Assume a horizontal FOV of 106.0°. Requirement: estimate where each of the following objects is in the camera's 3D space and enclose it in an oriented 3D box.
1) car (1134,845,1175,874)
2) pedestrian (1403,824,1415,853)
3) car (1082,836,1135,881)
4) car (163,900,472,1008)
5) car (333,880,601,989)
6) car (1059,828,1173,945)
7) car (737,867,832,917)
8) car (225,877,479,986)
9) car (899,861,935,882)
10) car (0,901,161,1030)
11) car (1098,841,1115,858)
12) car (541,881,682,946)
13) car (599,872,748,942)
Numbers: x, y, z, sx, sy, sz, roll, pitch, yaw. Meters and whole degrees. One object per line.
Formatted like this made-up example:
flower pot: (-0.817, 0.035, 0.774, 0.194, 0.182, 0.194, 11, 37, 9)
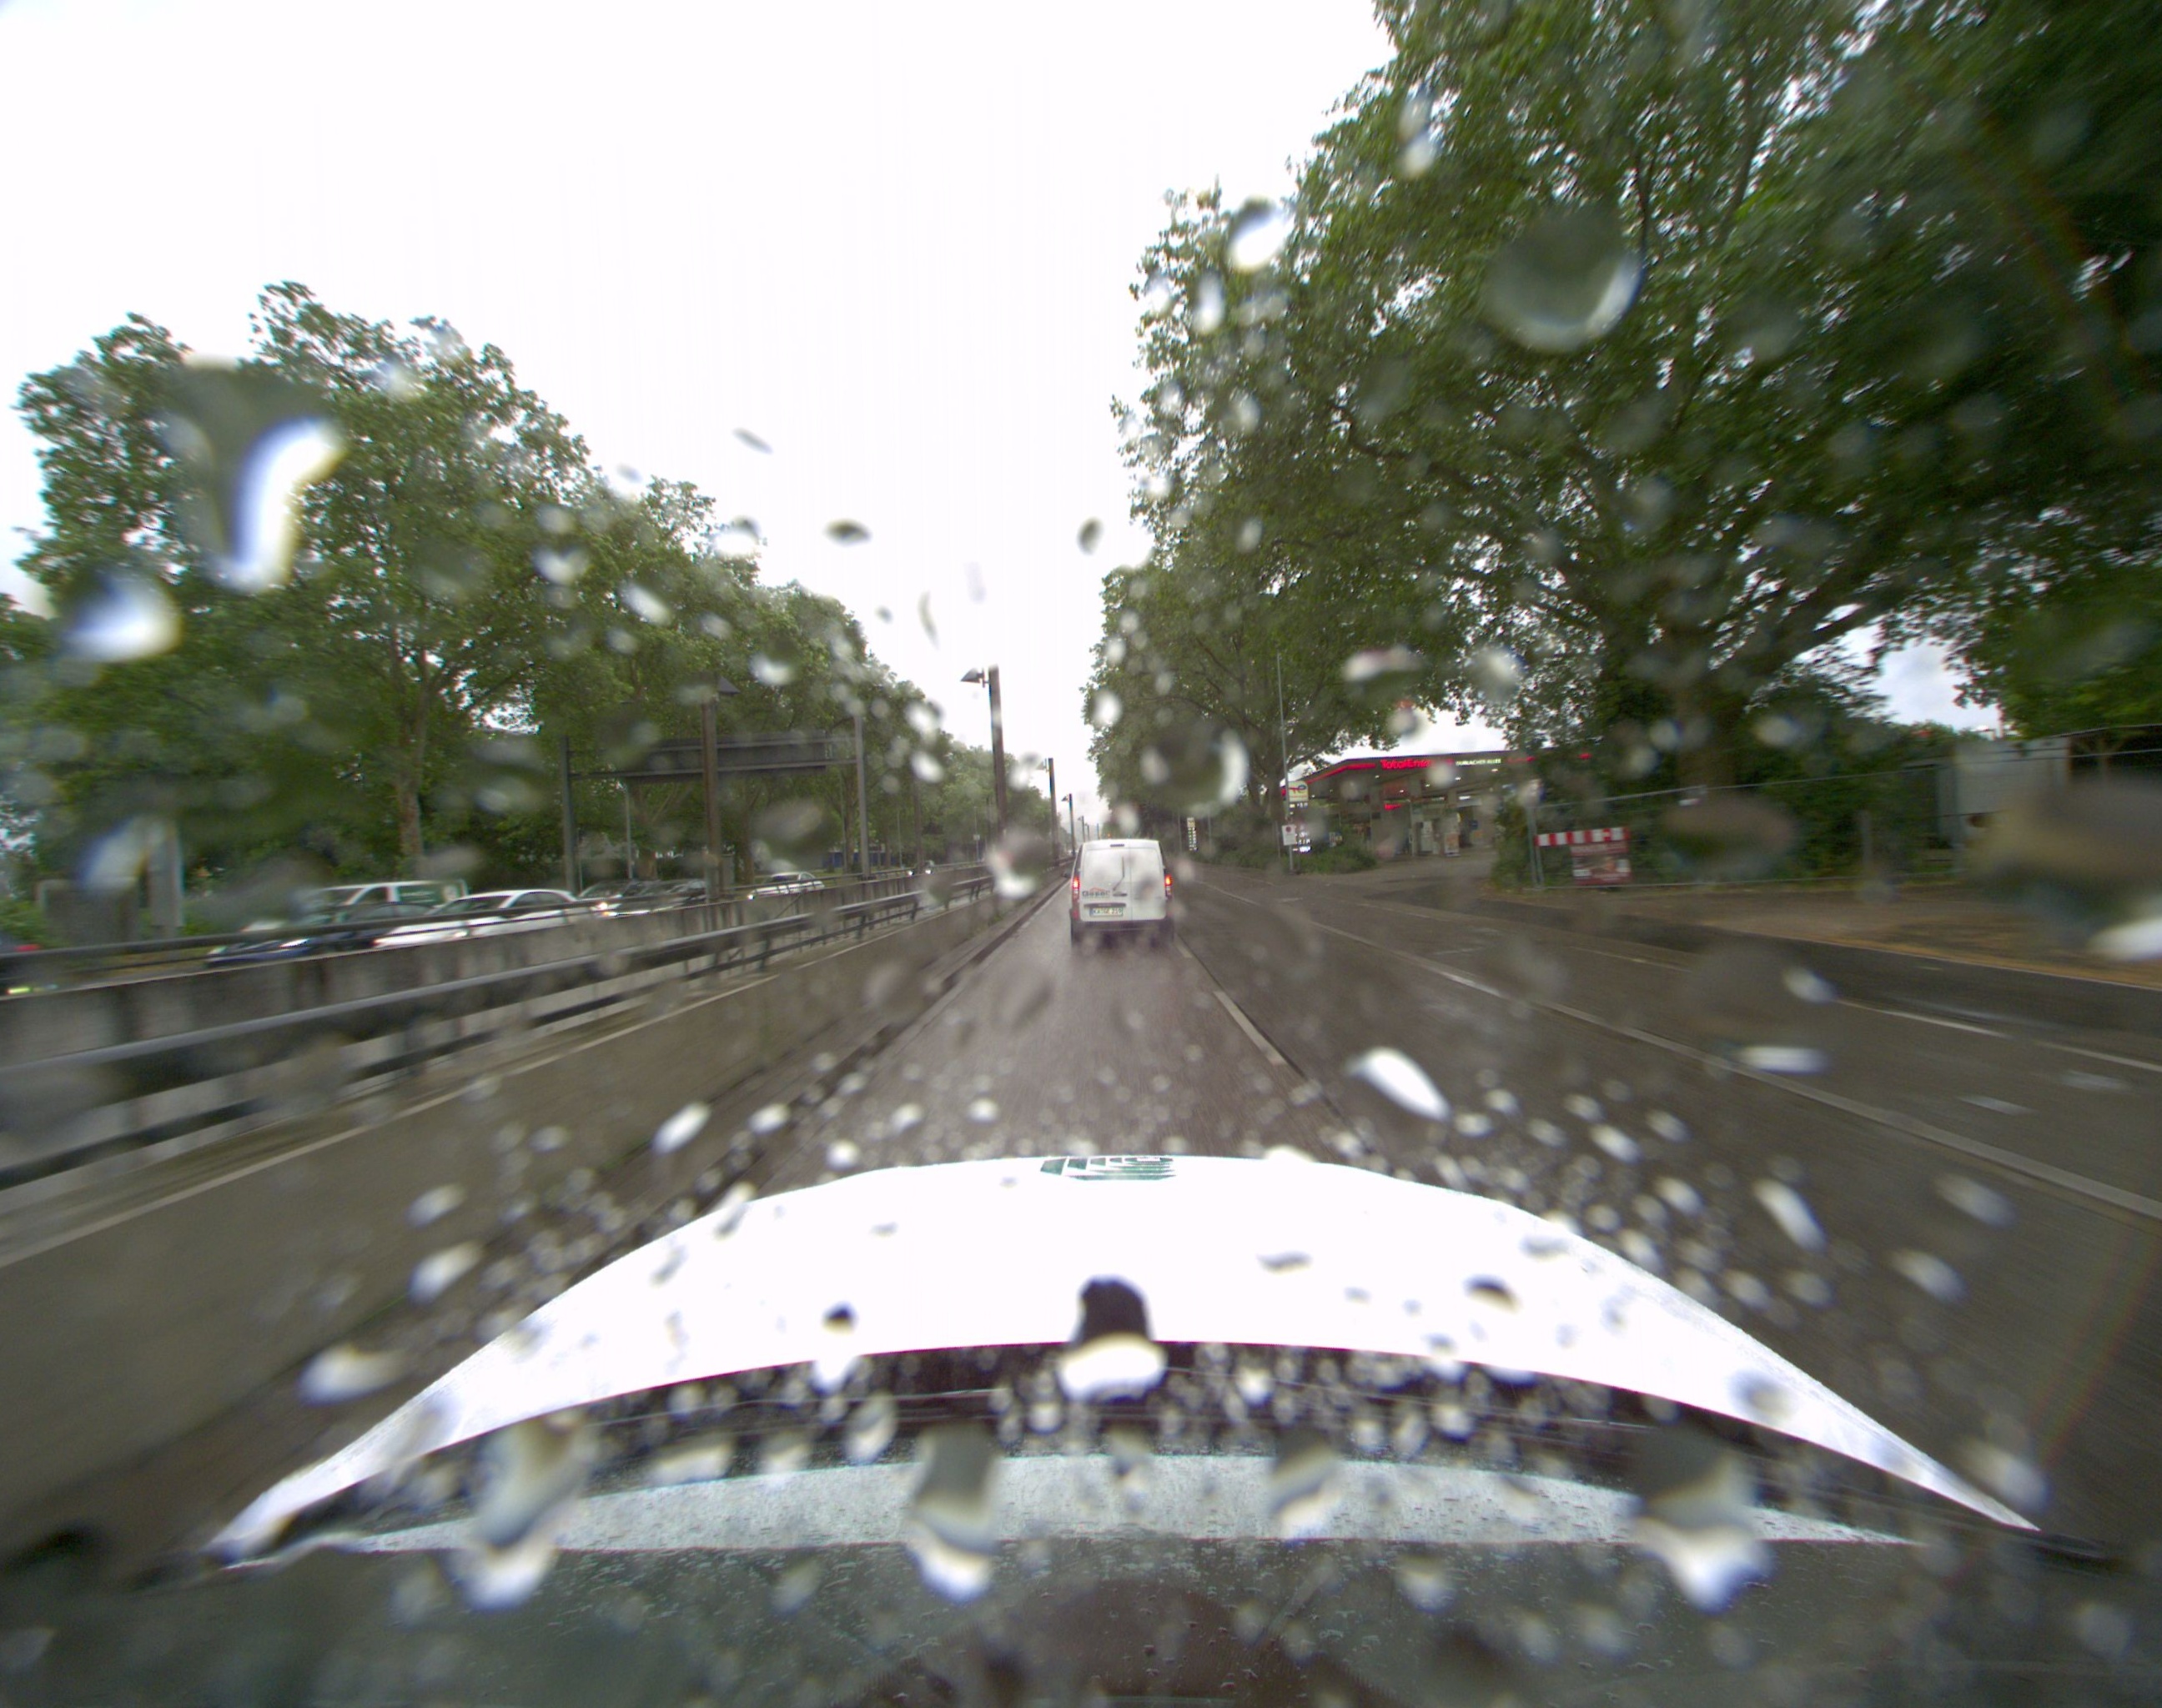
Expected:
car: (4.431, 0.332, 49.849, 1.988, 1.585, 3.998, -4, 0, -1)
pedestrian: (20.122, -0.944, 49.934, 0.549, 1.725, 0.729, -4, 0, 20)
car: (1.074, 0.172, 32.737, 1.911, 1.609, 4.001, -4, 0, 1)
car: (-15.424, 1.929, 16.905, 1.972, 1.574, 4.551, -3, 0, 1)
car: (-11.779, 1.457, 16.067, 1.986, 1.632, 4.091, -3, 0, 2)
car: (0.563, 0.498, 14.797, 1.750, 1.777, 4.000, -2, 0, 0)
car: (-11.647, 1.439, 32.325, 1.987, 1.632, 4.579, -3, 0, 0)
car: (-18.056, 1.806, 20.588, 1.746, 2.170, 4.852, -4, 0, 3)
car: (-14.031, 1.442, 69.992, 1.899, 1.571, 4.005, -3, 0, 4)
car: (-15.060, 1.553, 10.078, 1.972, 1.574, 4.611, -3, 0, 1)
car: (3.386, -0.612, 107.350, 2.040, 2.140, 4.003, -3, 0, 3)
car: (-14.572, 1.797, 25.593, 1.840, 1.632, 4.091, -3, 0, 2)
car: (-11.526, 1.441, 23.416, 1.986, 1.632, 4.091, -3, 0, 2)
